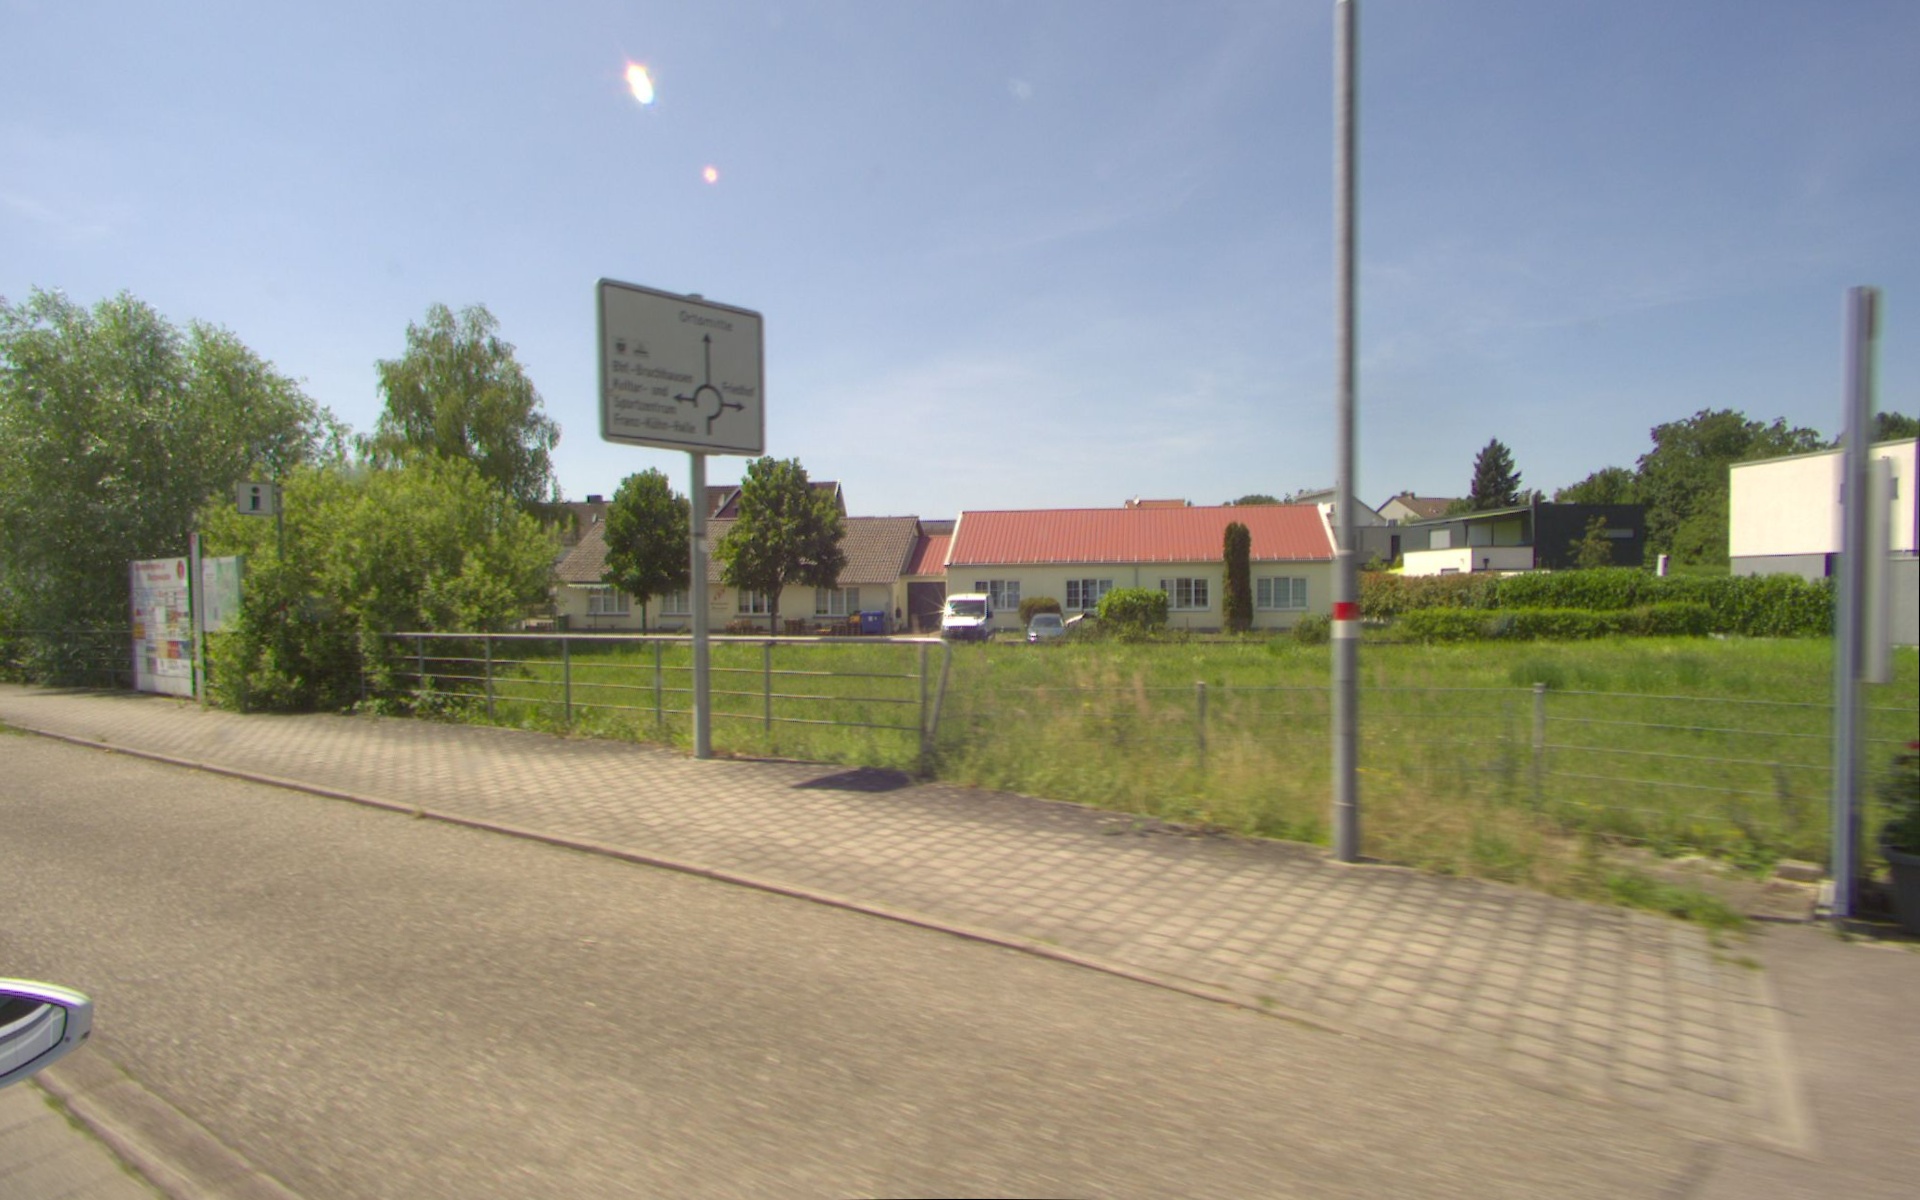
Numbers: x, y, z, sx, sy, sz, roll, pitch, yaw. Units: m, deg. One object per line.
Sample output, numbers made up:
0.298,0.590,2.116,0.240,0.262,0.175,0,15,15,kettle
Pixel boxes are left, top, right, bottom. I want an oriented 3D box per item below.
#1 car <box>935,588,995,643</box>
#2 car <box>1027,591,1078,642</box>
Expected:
0.285,0.657,43.308,2.172,2.230,5.185,0,-1,5,car
3.928,0.702,42.716,2.029,2.040,4.933,0,-1,5,car
